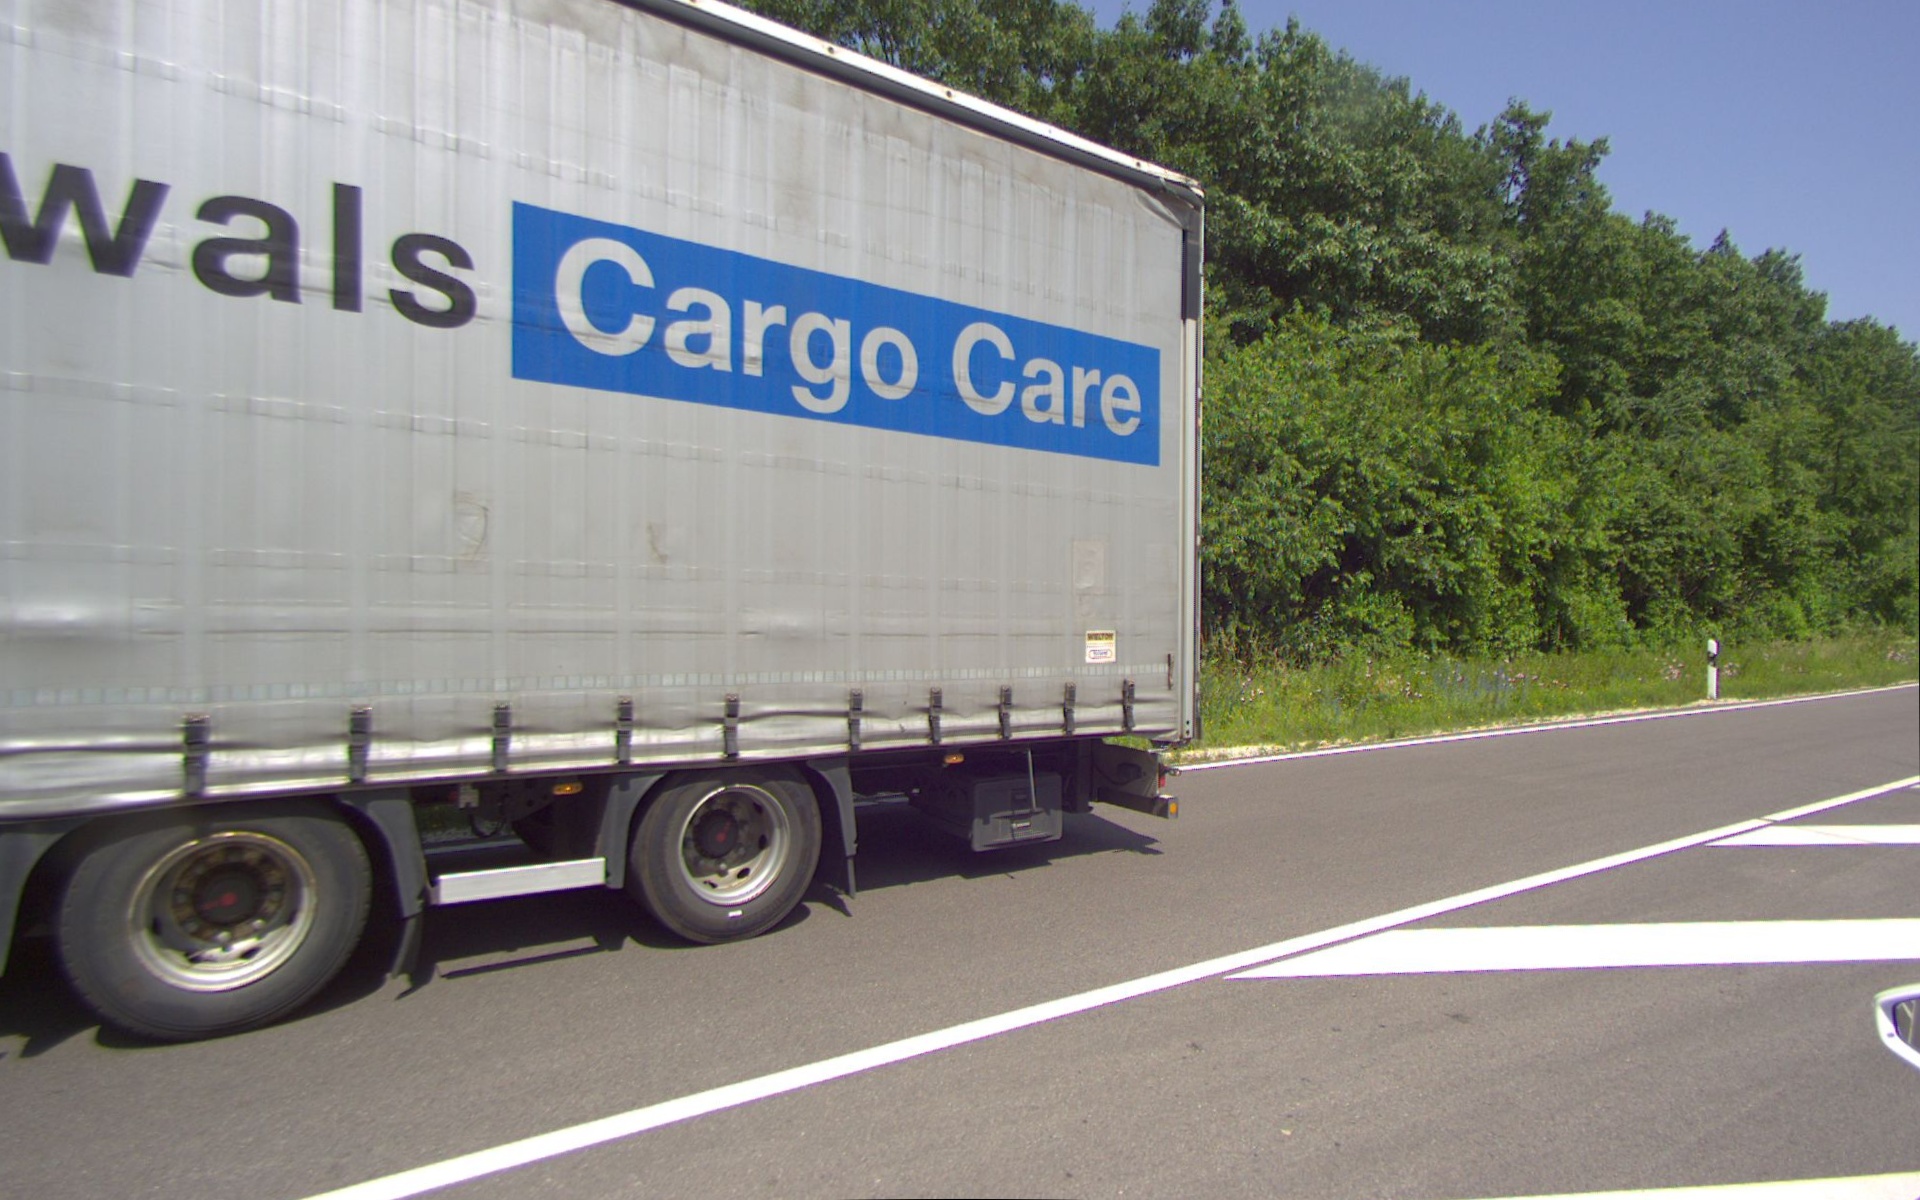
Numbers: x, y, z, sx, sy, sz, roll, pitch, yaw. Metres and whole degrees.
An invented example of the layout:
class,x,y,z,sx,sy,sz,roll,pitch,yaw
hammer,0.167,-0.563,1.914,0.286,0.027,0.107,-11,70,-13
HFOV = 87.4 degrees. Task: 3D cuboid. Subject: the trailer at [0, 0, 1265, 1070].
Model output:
class,x,y,z,sx,sy,sz,roll,pitch,yaw
trailer,-2.696,-0.754,4.544,8.909,4.151,2.810,1,1,-35
